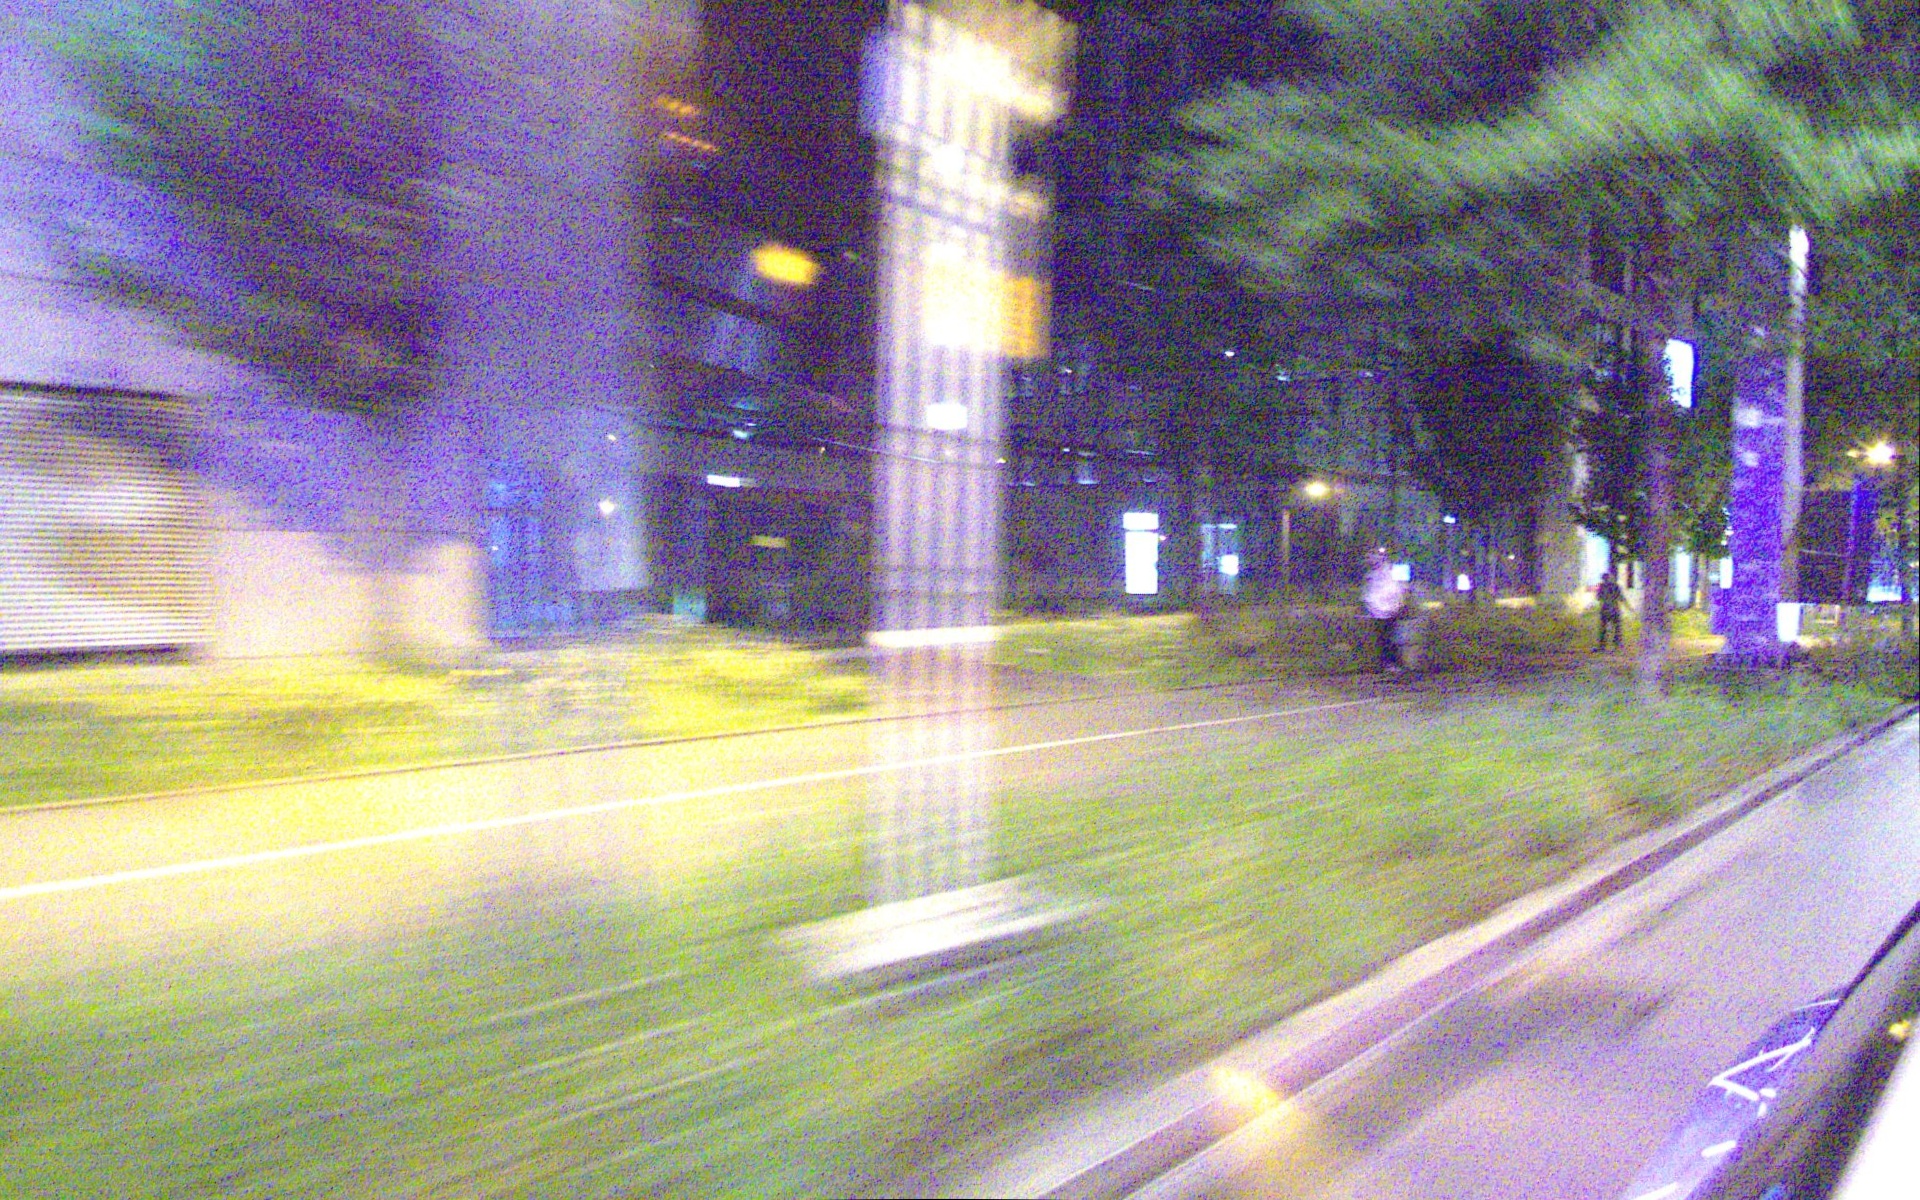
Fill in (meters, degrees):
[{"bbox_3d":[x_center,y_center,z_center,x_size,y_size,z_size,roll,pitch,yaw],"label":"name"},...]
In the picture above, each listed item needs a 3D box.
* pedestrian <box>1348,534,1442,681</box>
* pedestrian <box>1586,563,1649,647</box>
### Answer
[{"bbox_3d":[5.941,0.079,13.844,0.777,1.936,0.808,0,3,-31],"label":"pedestrian"},{"bbox_3d":[14.044,0.085,21.627,0.940,1.728,0.854,-1,3,-40],"label":"pedestrian"}]
